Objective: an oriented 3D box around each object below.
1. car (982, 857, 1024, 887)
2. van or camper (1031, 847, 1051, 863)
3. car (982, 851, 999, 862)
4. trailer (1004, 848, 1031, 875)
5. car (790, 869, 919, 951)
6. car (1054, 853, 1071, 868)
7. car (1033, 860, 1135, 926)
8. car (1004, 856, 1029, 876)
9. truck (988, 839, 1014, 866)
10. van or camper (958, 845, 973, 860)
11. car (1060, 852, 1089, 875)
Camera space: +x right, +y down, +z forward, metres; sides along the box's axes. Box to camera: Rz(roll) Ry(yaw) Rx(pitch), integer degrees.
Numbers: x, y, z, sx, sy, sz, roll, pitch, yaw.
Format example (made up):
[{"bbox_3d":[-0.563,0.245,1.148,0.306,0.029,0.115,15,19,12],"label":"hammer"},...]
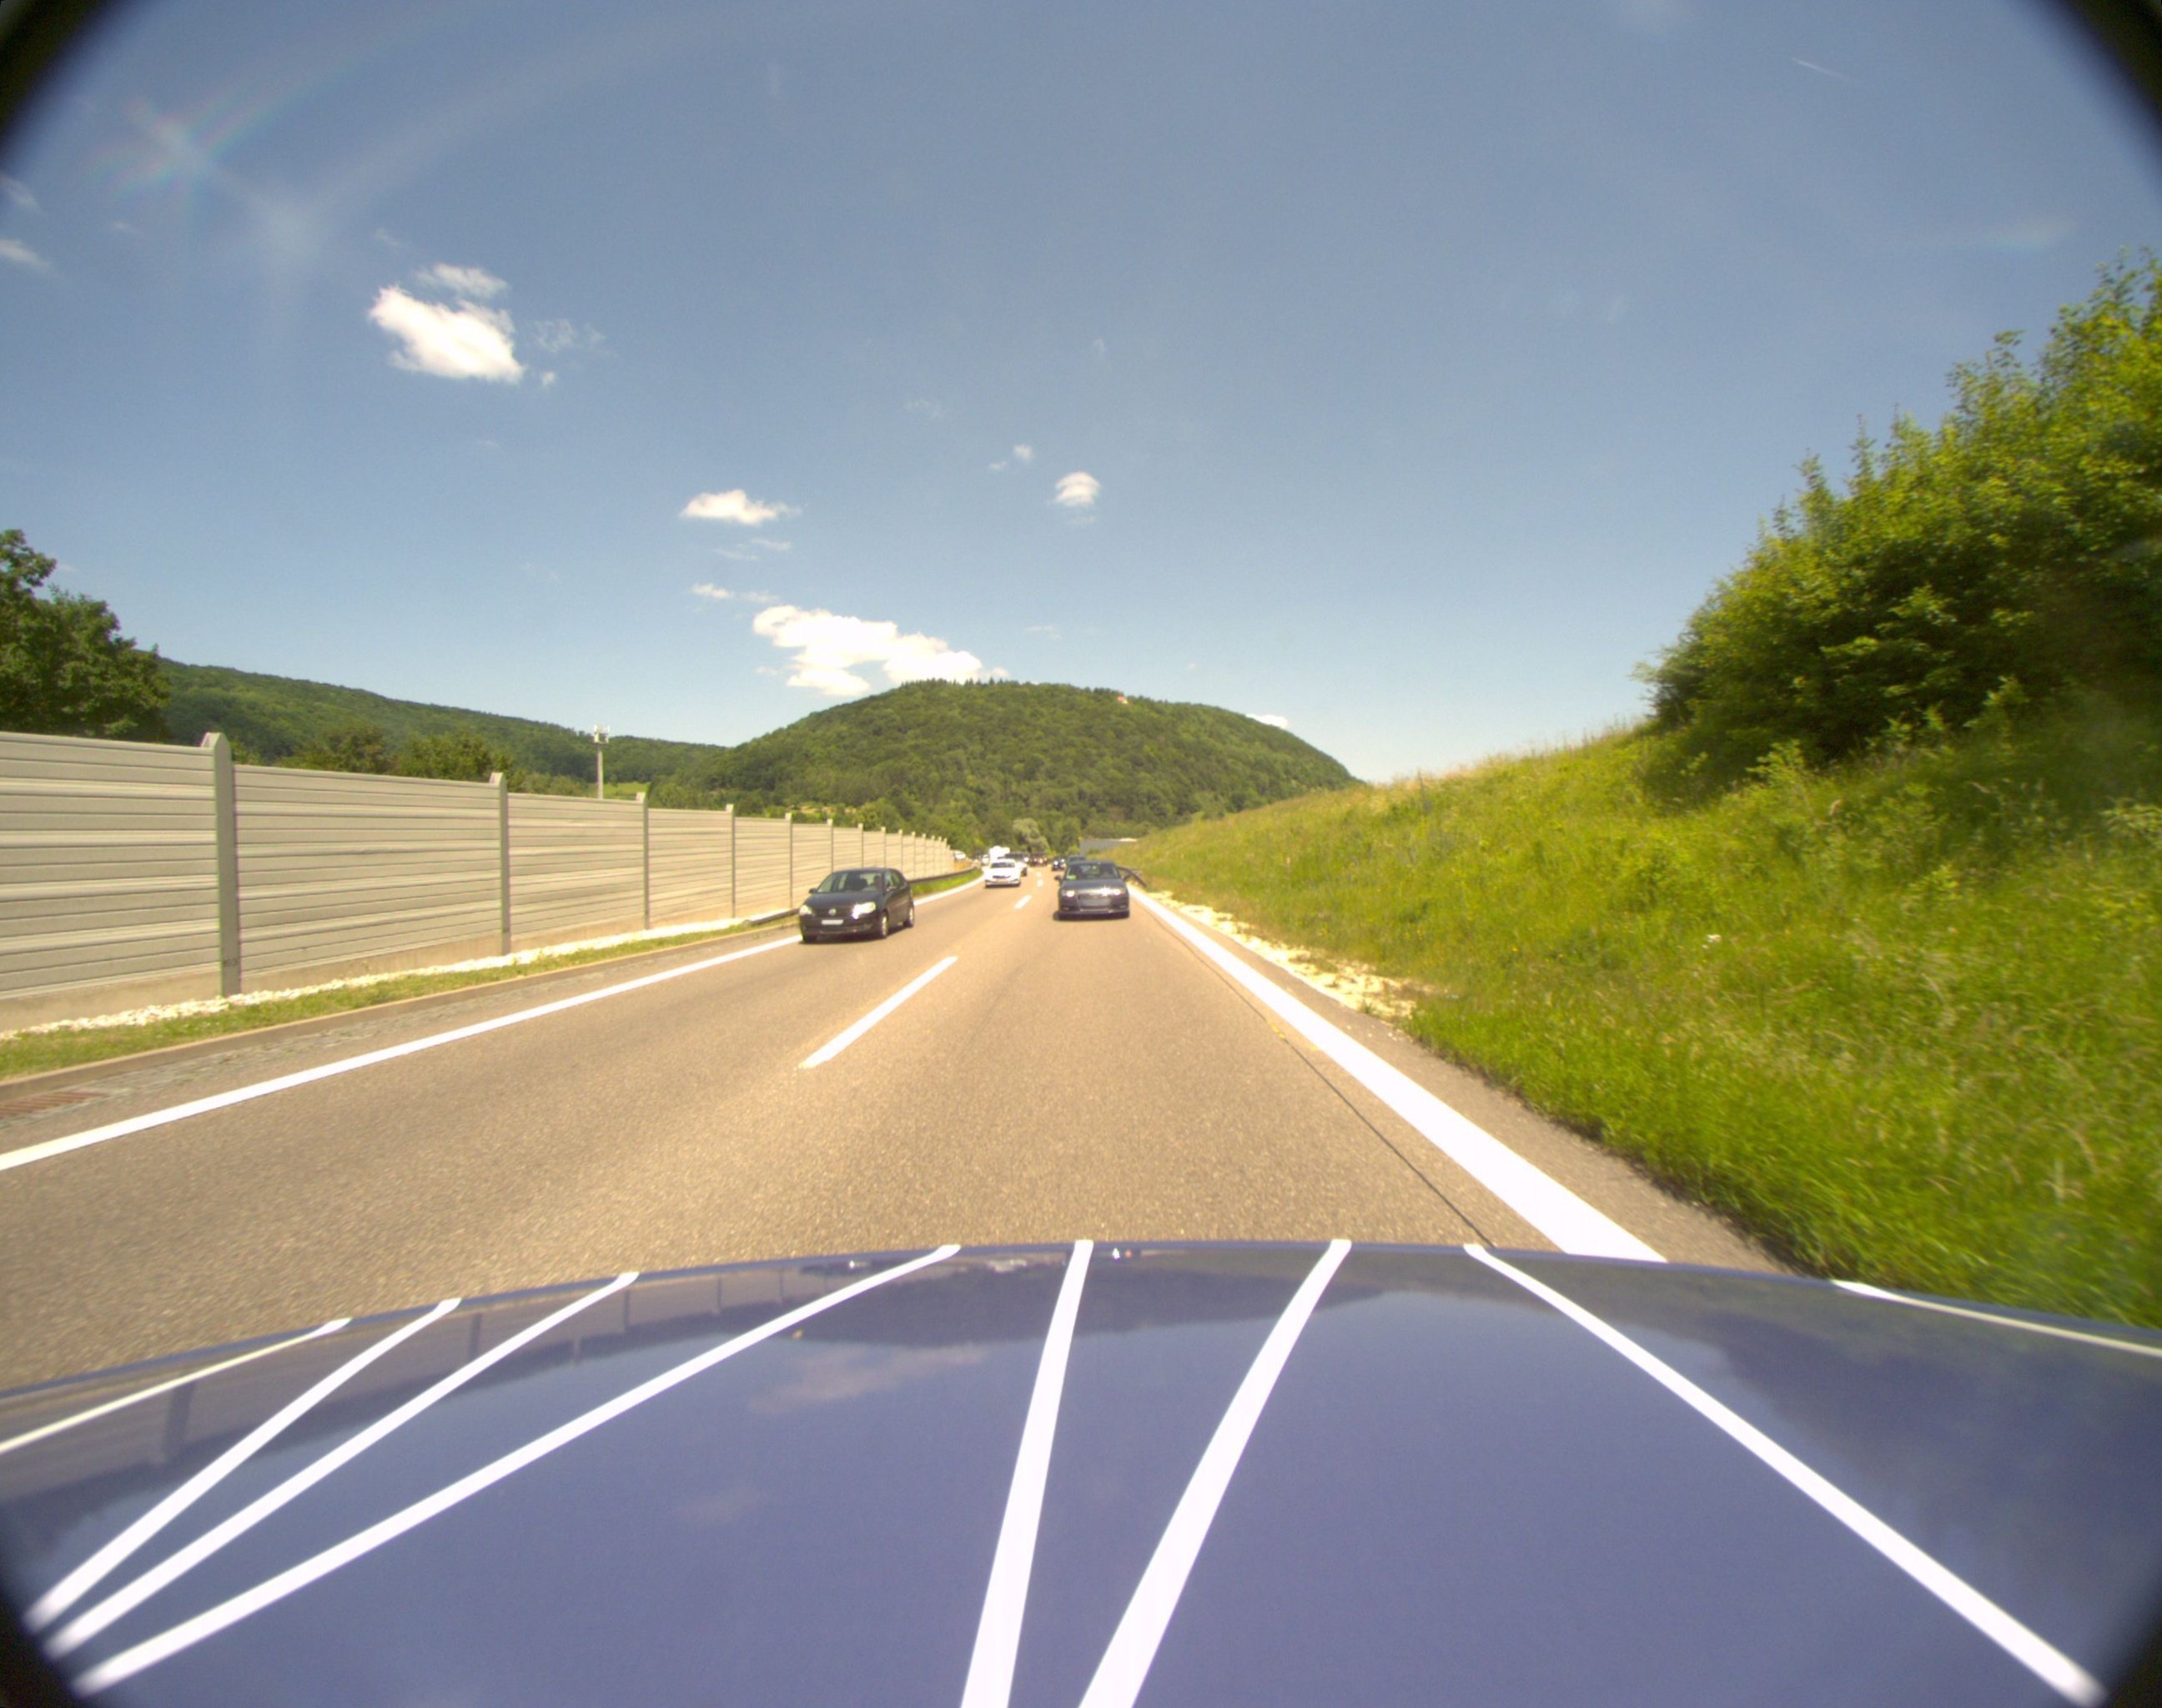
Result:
[{"bbox_3d":[-4.106,0.917,40.556,1.907,1.422,3.721,-3,0,-1],"label":"car"},{"bbox_3d":[-5.003,0.174,94.602,1.819,1.855,3.609,-3,1,-14],"label":"van or camper"},{"bbox_3d":[-13.995,0.406,117.433,1.701,1.523,3.674,-5,1,-19],"label":"car"},{"bbox_3d":[-5.116,0.574,61.011,1.999,1.958,3.997,-3,1,-6],"label":"trailer"},{"bbox_3d":[-4.697,1.091,16.303,1.696,1.414,3.837,-1,0,-2],"label":"car"},{"bbox_3d":[-1.722,0.585,70.831,1.286,1.305,3.454,-3,-1,2],"label":"car"},{"bbox_3d":[-0.045,0.897,19.247,1.757,1.382,4.051,-3,0,-11],"label":"car"},{"bbox_3d":[-4.815,0.880,57.250,1.488,1.375,3.738,0,0,1],"label":"car"},{"bbox_3d":[-10.123,-0.192,96.079,2.604,3.089,6.852,-5,1,-9],"label":"truck"},{"bbox_3d":[-23.831,-0.272,156.627,1.912,3.010,4.866,-2,1,-21],"label":"van or camper"},{"bbox_3d":[-0.401,0.644,52.288,1.695,1.422,3.463,-2,0,3],"label":"car"}]
